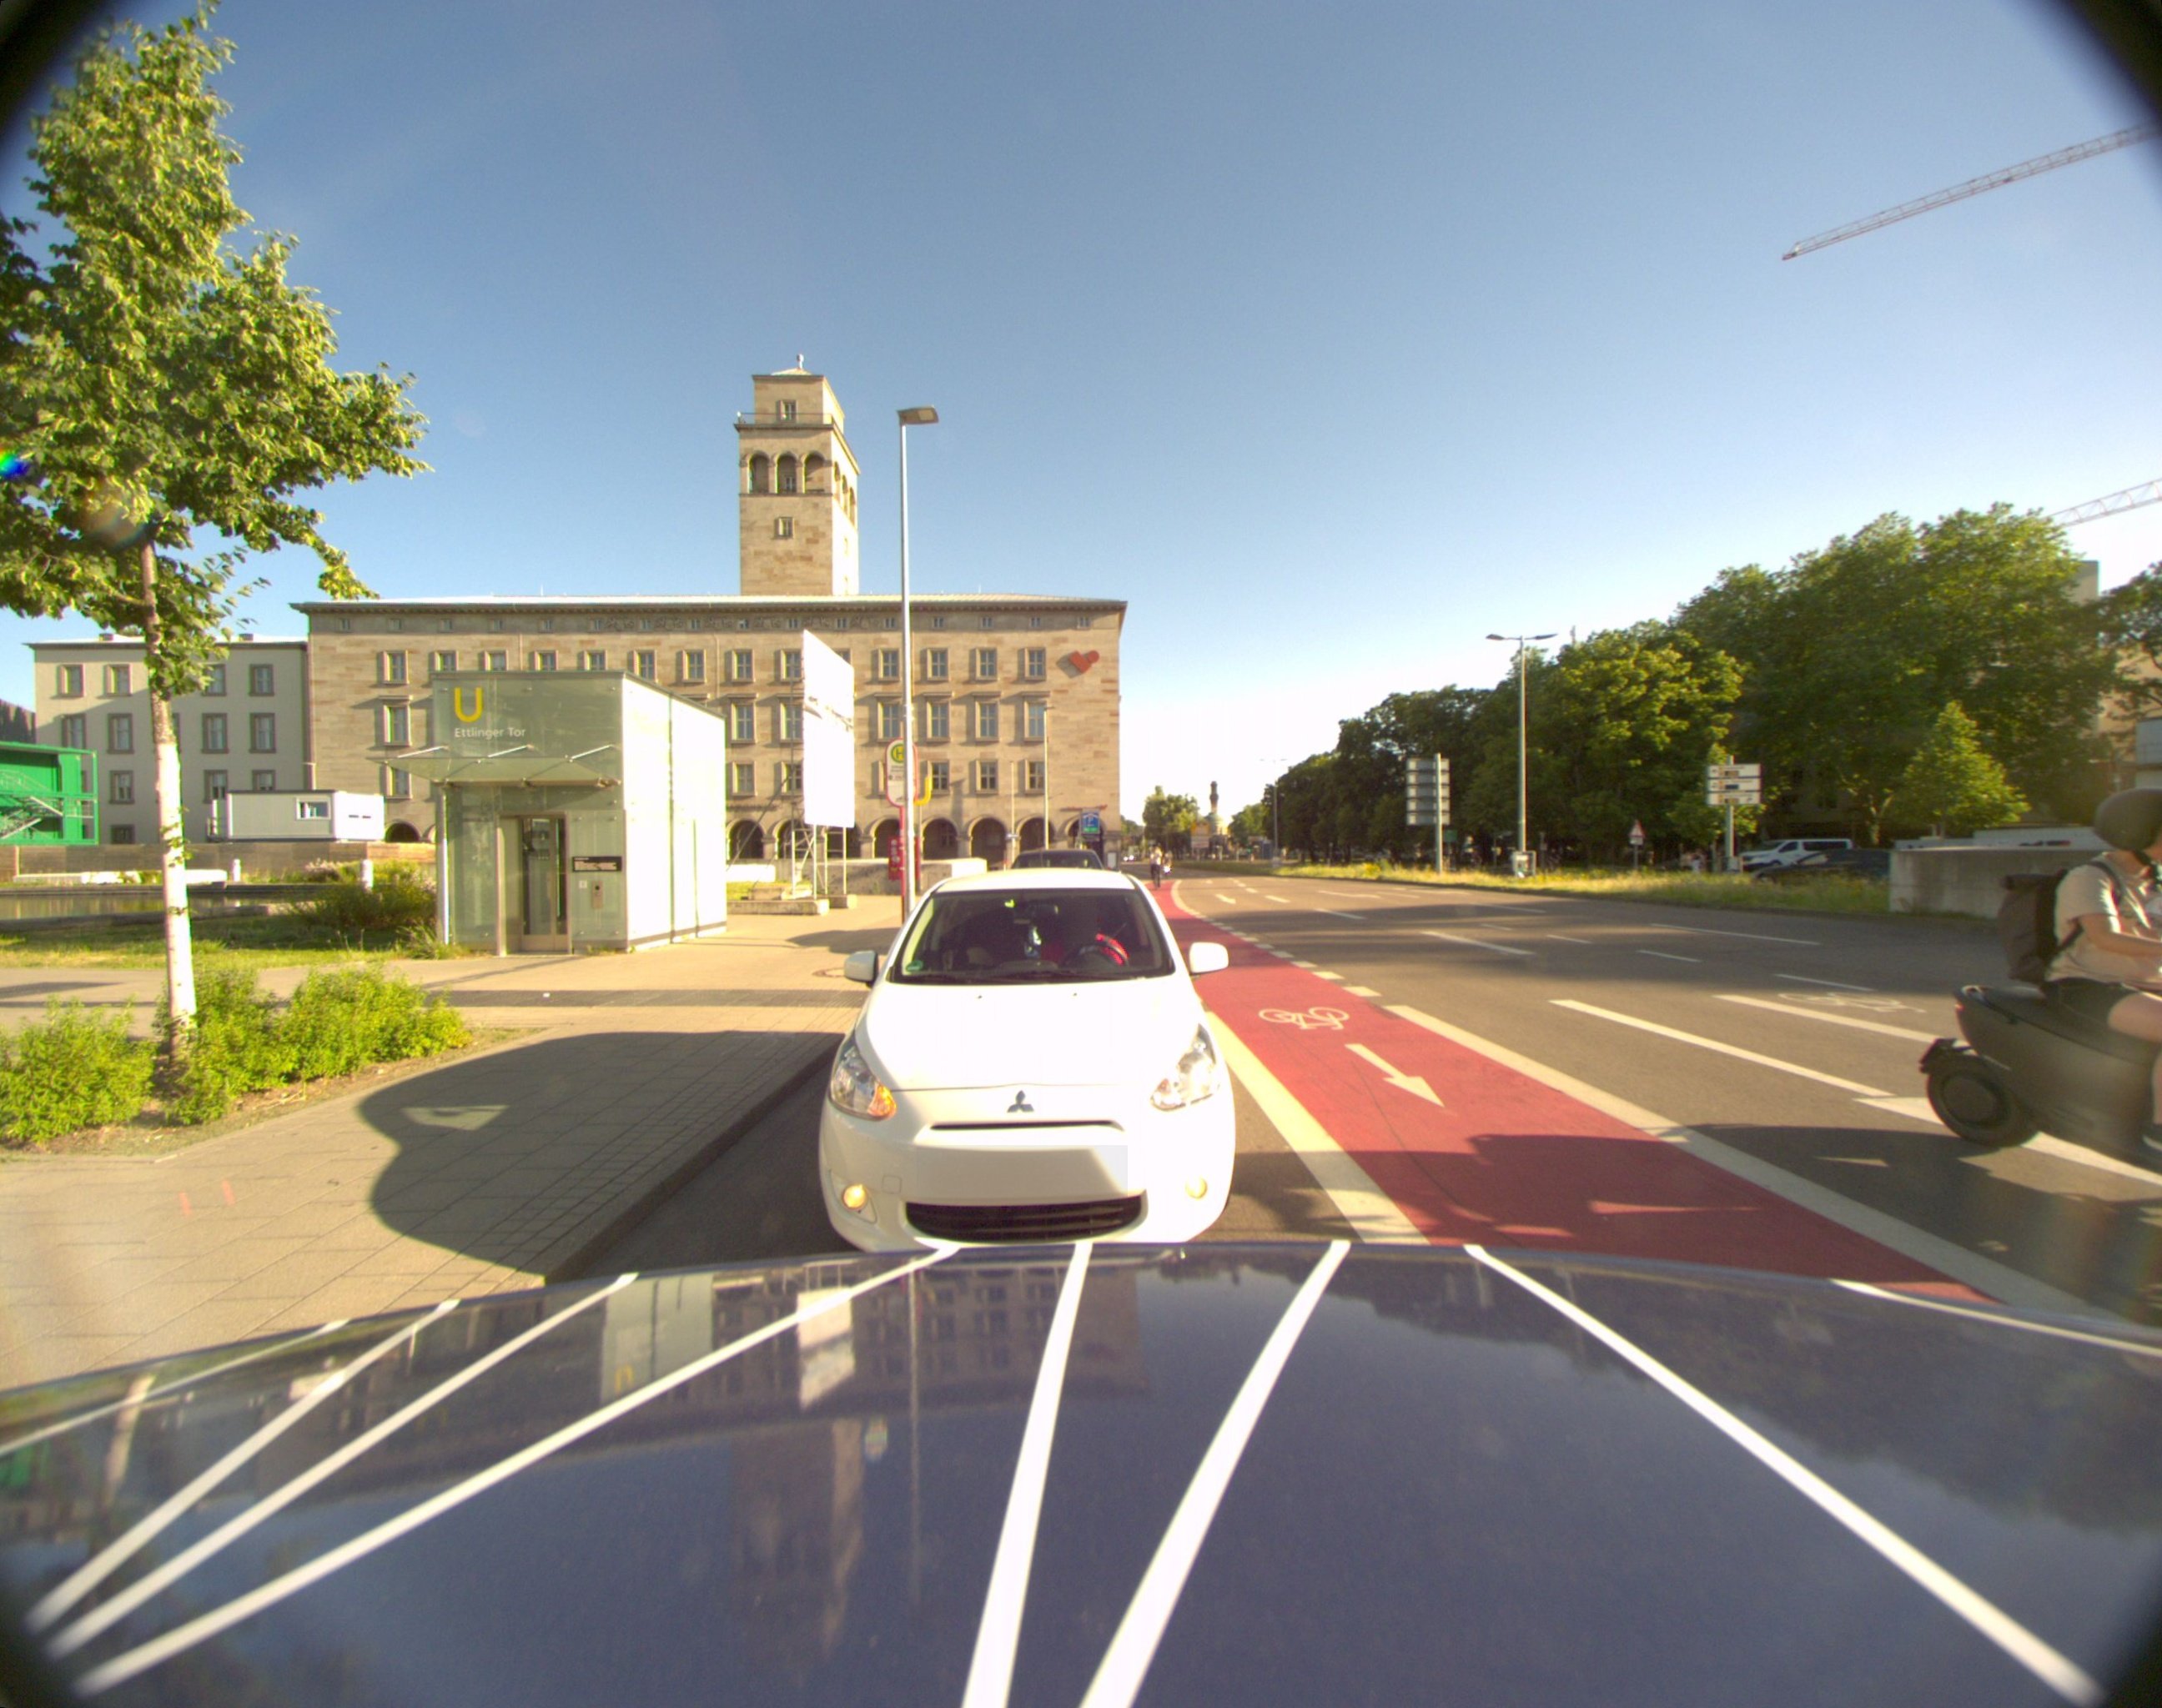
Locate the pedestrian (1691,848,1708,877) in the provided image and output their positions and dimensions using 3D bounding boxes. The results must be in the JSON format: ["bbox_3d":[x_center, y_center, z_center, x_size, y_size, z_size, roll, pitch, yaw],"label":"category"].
[{"bbox_3d":[33.231,0.455,40.807,0.499,1.502,0.494,-1,1,1],"label":"pedestrian"}]

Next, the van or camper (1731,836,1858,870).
[{"bbox_3d":[42.232,-0.052,45.066,5.499,1.934,1.951,-1,0,4],"label":"van or camper"}]

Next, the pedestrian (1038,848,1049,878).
[{"bbox_3d":[-2.111,0.517,42.984,0.552,1.692,0.553,-1,1,-1],"label":"pedestrian"}]

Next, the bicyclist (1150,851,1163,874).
[{"bbox_3d":[5.259,0.585,52.936,0.824,1.568,0.877,-1,1,1],"label":"bicyclist"}]

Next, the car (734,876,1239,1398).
[{"bbox_3d":[-0.259,0.925,4.310,1.519,1.447,4.000,-1,0,1],"label":"car"}]

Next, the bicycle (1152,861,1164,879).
[{"bbox_3d":[5.333,1.102,52.978,0.689,1.185,1.506,-1,1,1],"label":"bicycle"}]

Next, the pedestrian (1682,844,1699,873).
[{"bbox_3d":[32.455,0.243,40.461,0.499,1.502,0.494,-1,1,1],"label":"pedestrian"}]

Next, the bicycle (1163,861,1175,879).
[{"bbox_3d":[6.095,1.092,52.606,0.689,1.185,1.506,-1,1,1],"label":"bicycle"}]

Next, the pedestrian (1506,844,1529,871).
[{"bbox_3d":[32.822,0.275,57.118,0.951,1.952,1.058,-2,1,-14],"label":"pedestrian"}]

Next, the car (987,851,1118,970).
[{"bbox_3d":[-0.376,0.793,12.729,1.833,1.660,4.000,-1,0,1],"label":"car"}]

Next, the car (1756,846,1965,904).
[{"bbox_3d":[21.836,0.538,21.556,1.881,1.472,3.980,-1,0,1],"label":"car"}]

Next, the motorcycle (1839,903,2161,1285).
[{"bbox_3d":[4.268,0.897,2.898,0.828,1.273,1.944,-1,0,1],"label":"motorcycle"}]

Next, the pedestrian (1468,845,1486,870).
[{"bbox_3d":[32.461,0.285,62.275,0.958,2.002,0.839,-3,1,-18],"label":"pedestrian"}]

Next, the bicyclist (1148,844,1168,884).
[{"bbox_3d":[3.354,0.422,33.142,0.807,1.690,0.852,-1,1,1],"label":"bicyclist"}]

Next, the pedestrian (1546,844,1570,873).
[{"bbox_3d":[33.216,0.311,52.947,1.126,1.952,0.815,-2,1,1],"label":"pedestrian"}]

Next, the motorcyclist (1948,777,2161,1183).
[{"bbox_3d":[4.282,0.447,2.950,0.824,1.455,0.877,-1,1,1],"label":"motorcyclist"}]

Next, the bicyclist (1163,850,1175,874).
[{"bbox_3d":[6.109,0.528,52.699,0.674,1.649,0.877,-1,1,1],"label":"bicyclist"}]

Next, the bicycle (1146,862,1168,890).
[{"bbox_3d":[3.307,0.952,33.189,0.741,1.140,1.890,-1,0,1],"label":"bicycle"}]

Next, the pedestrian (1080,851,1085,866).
[{"bbox_3d":[0.223,0.631,103.264,0.612,2.002,0.727,-2,1,0],"label":"pedestrian"}]

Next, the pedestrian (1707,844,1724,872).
[{"bbox_3d":[34.031,0.211,40.776,0.499,1.502,0.494,-1,1,1],"label":"pedestrian"}]
